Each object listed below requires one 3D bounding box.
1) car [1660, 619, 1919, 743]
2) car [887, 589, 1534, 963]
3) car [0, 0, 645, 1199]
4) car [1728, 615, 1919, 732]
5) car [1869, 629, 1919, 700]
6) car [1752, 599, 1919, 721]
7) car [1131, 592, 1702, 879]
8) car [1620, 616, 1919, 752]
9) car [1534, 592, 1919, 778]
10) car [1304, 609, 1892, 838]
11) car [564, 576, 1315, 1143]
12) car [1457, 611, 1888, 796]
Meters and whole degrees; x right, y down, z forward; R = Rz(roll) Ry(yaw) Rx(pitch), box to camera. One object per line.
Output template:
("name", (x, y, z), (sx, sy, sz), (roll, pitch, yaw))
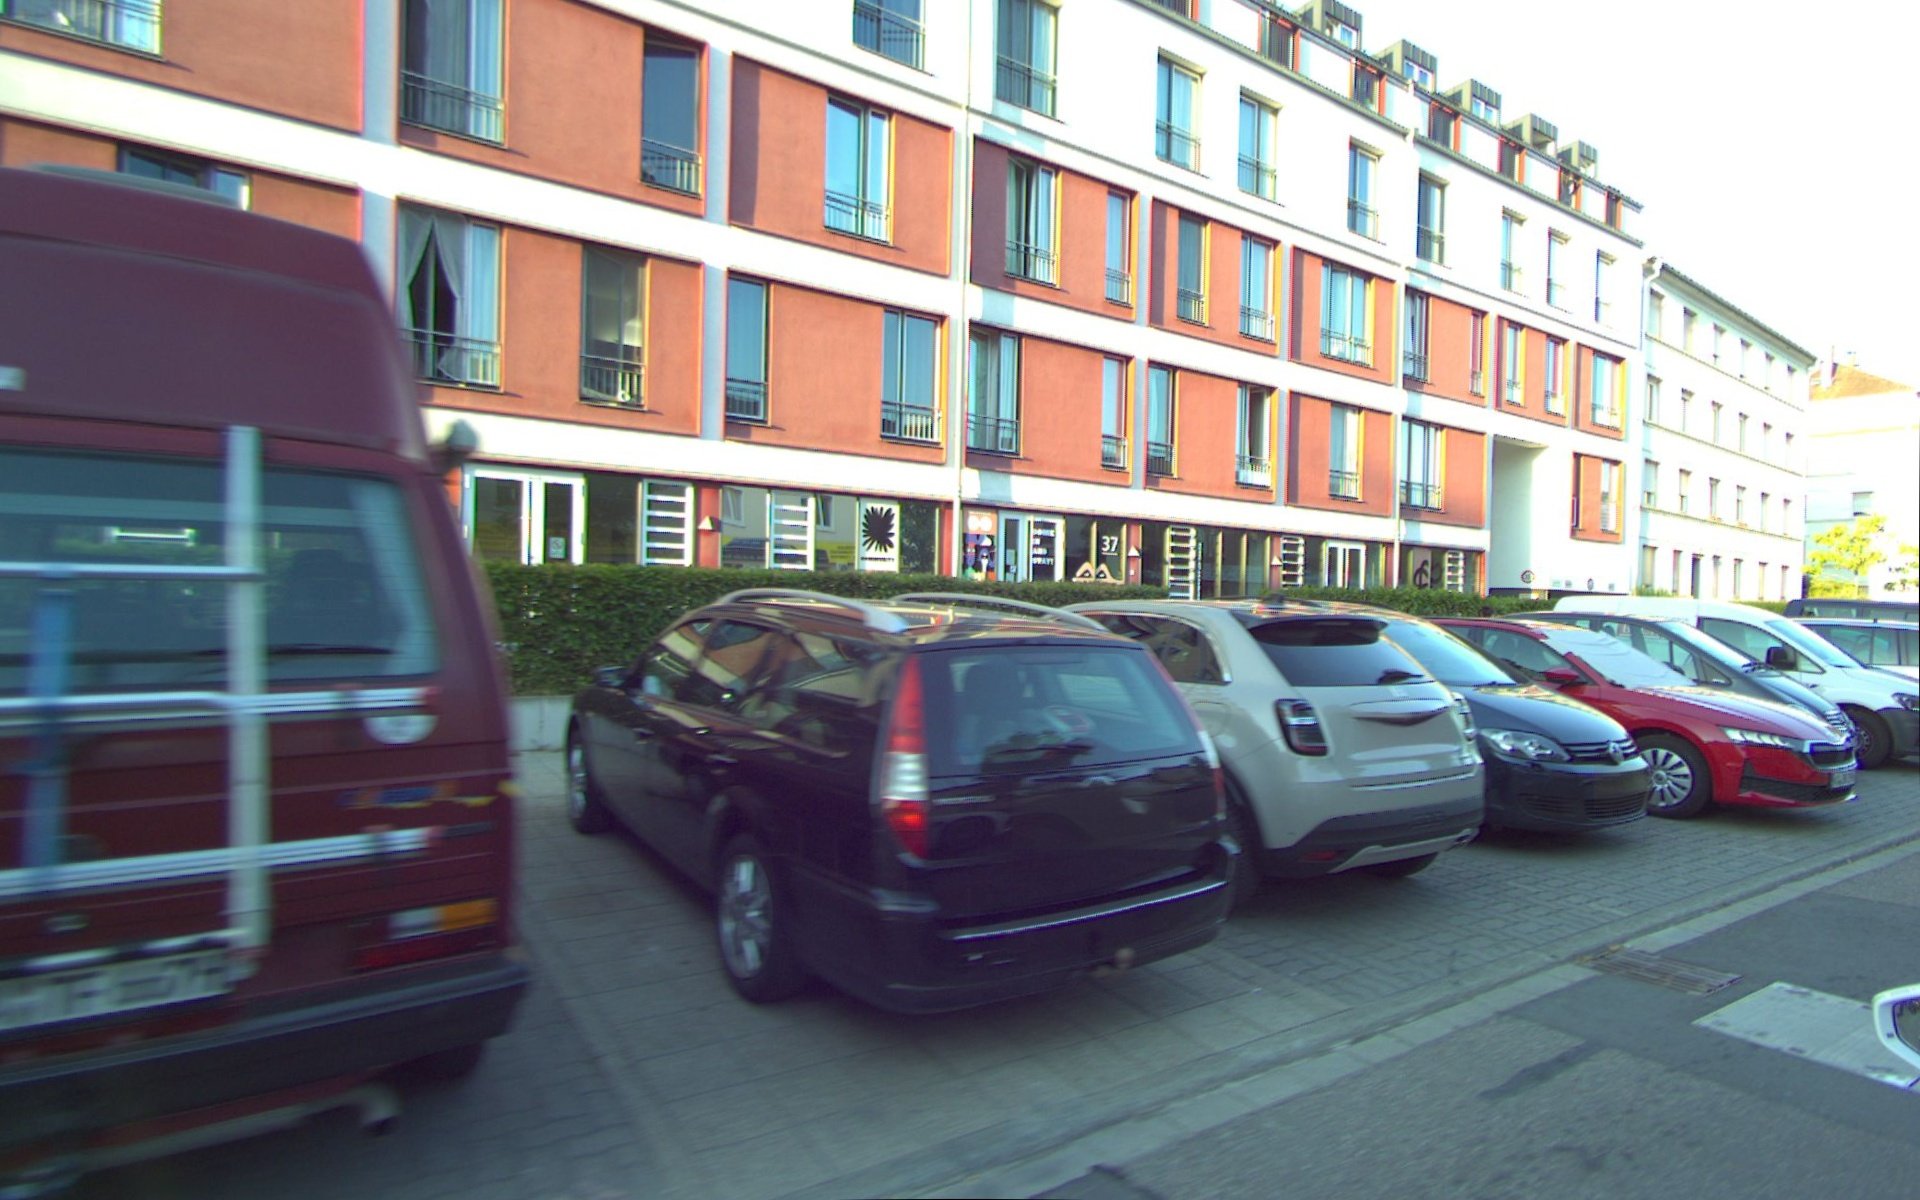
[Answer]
("car", (13.339, 1.167, 15.356), (1.779, 1.639, 3.961), (2, 0, -34))
("car", (1.218, 0.765, 6.460), (1.736, 1.560, 3.927), (2, 0, -31))
("car", (-2.718, 0.114, 3.598), (1.911, 2.590, 4.376), (2, 0, -33))
("car", (15.387, 1.182, 16.391), (1.882, 1.746, 4.159), (2, 0, -34))
("car", (21.600, 1.463, 20.605), (1.723, 1.435, 4.105), (2, 2, -38))
("car", (17.441, 1.074, 17.897), (1.977, 2.082, 4.829), (2, 0, -31))
("car", (3.311, 0.814, 8.047), (1.680, 1.639, 3.866), (2, 1, -31))
("car", (11.722, 1.076, 13.915), (2.038, 1.610, 3.950), (2, -1, -42))
("car", (9.753, 0.893, 12.480), (1.878, 1.921, 4.152), (2, 0, -33))
("car", (5.522, 0.906, 9.291), (1.769, 1.513, 4.238), (2, 0, -33))
("car", (-0.595, 0.698, 5.042), (1.688, 1.545, 4.309), (2, 1, -34))
("car", (7.715, 0.985, 11.154), (1.767, 1.583, 3.506), (2, 1, -36))
